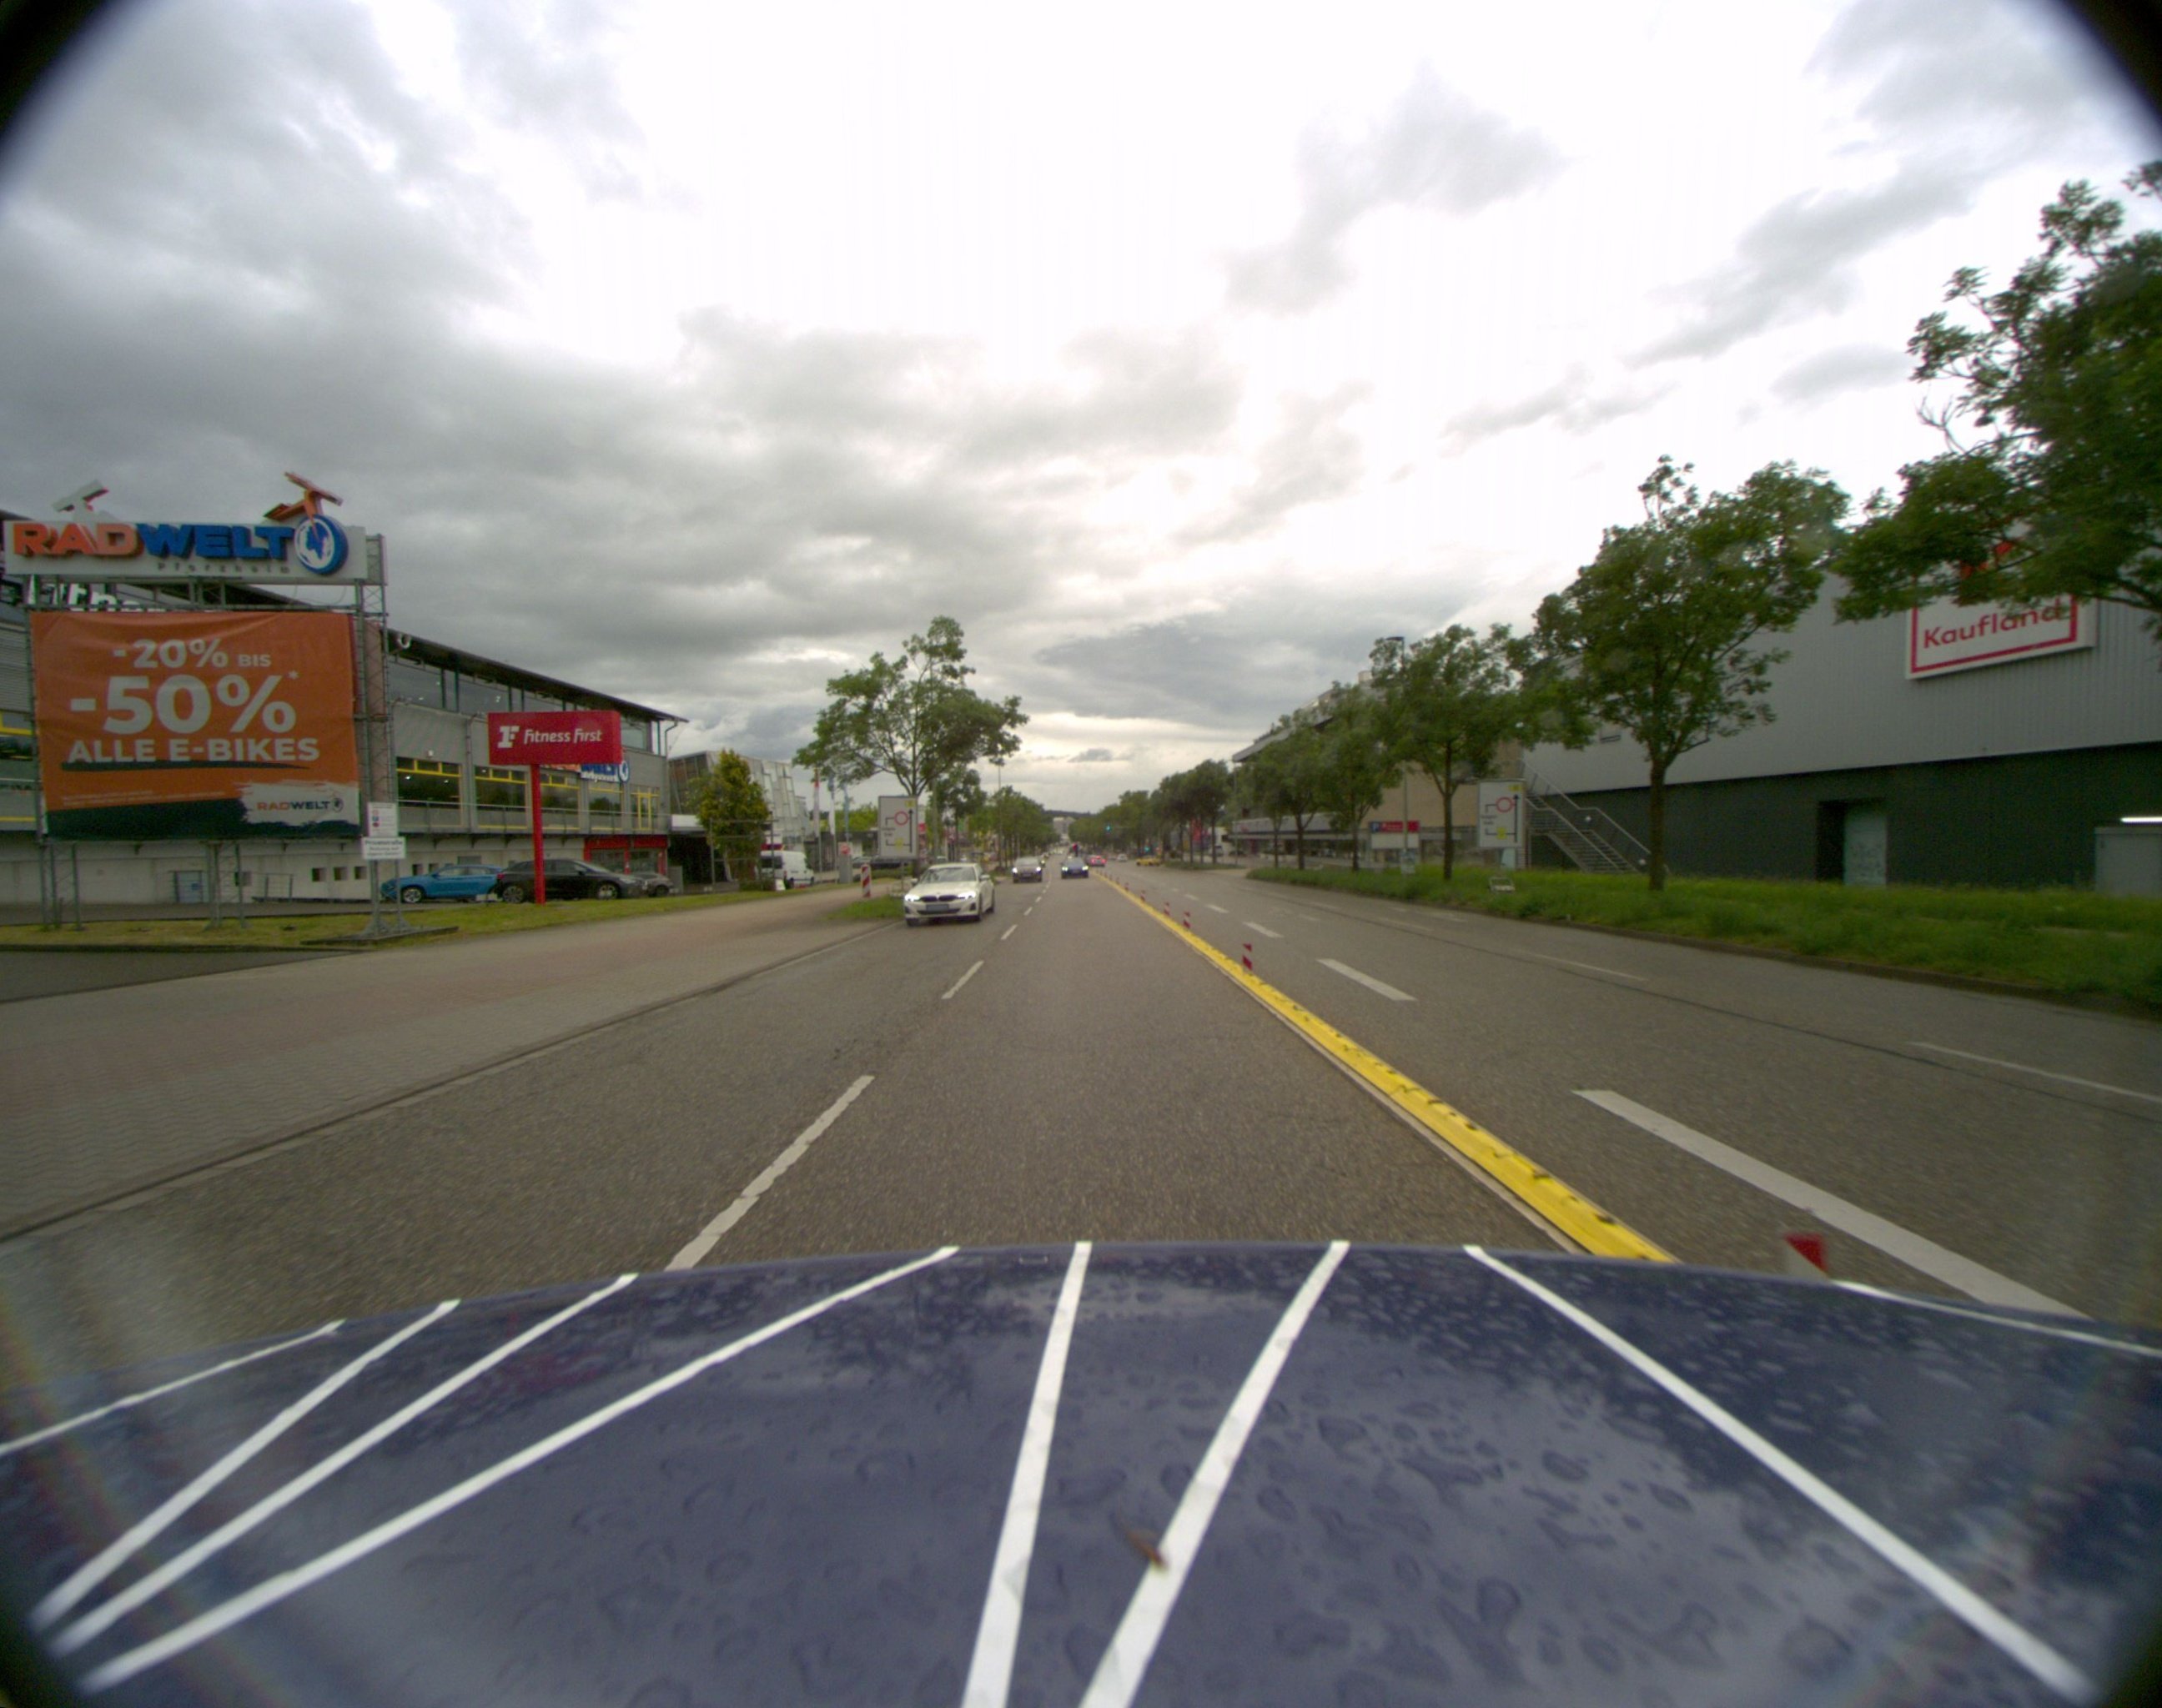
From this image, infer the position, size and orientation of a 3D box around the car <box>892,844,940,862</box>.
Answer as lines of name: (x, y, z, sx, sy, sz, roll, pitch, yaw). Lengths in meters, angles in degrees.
car: (-15.991, -0.140, 73.796, 4.178, 1.591, 1.800, 2, 1, 2)

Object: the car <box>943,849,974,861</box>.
car: (-17.650, 0.184, 109.624, 4.186, 1.570, 1.738, 1, 1, -40)

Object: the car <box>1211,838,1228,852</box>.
car: (22.850, -1.528, 125.361, 1.998, 2.002, 4.886, -5, 1, 3)

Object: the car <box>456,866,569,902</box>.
car: (-25.233, 1.310, 33.780, 3.882, 1.492, 1.735, 0, -2, -41)

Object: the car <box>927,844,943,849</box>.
car: (-38.424, -1.975, 200.126, 3.997, 1.501, 1.800, 0, 0, -2)

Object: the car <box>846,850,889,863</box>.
car: (-25.395, 0.303, 90.437, 4.508, 1.388, 1.794, 1, 2, -43)

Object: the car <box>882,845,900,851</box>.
car: (-50.483, -1.519, 201.919, 4.222, 1.572, 1.823, 0, 0, -2)

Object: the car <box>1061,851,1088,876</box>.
car: (-0.445, 0.653, 53.904, 1.799, 1.572, 4.218, -3, 0, 0)

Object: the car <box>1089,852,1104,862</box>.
car: (2.159, 0.395, 105.839, 1.745, 1.398, 3.999, 0, 0, -3)

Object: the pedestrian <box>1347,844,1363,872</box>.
pedestrian: (16.066, 0.239, 44.607, 0.586, 1.574, 0.767, -3, 1, 1)

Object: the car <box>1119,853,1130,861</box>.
car: (8.106, 0.457, 141.379, 1.745, 1.398, 4.467, 0, 1, -1)

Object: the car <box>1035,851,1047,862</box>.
car: (-5.657, 0.392, 107.765, 1.754, 1.501, 3.999, 0, 0, -2)

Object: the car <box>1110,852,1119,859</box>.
car: (7.258, 0.305, 166.644, 1.745, 1.544, 4.781, 0, 0, -1)

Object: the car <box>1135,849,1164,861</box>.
car: (9.704, 0.170, 107.240, 3.701, 1.500, 1.624, -3, 2, 43)

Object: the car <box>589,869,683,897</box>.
car: (-25.225, 1.629, 43.140, 1.779, 1.461, 4.269, -3, -2, 43)

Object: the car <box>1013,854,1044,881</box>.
car: (-3.295, 0.816, 48.348, 1.799, 1.572, 4.217, -3, 0, -2)

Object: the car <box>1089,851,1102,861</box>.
car: (2.127, 0.266, 114.000, 1.754, 1.516, 3.999, 0, 0, -2)

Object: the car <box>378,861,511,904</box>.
car: (-25.063, 1.092, 29.997, 3.919, 1.549, 1.735, 0, -2, -43)

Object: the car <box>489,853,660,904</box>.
car: (-15.793, 0.768, 23.914, 4.106, 1.430, 1.795, -1, -2, -14)

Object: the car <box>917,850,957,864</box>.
car: (-16.112, 0.292, 85.303, 4.180, 1.464, 1.862, 2, 1, -2)

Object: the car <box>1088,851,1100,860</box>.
car: (2.069, 0.230, 122.129, 1.754, 1.501, 3.999, 0, 0, -2)

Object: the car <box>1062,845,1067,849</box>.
car: (-5.562, -2.351, 258.153, 1.754, 1.501, 3.999, 0, 0, -1)

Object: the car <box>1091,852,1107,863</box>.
car: (2.405, 0.396, 99.862, 1.789, 1.398, 4.615, 0, 0, -3)

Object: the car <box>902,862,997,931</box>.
car: (-3.302, 1.007, 19.929, 1.808, 1.432, 4.540, -3, 0, -2)

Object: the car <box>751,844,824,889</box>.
car: (-18.415, 0.834, 47.963, 2.232, 2.521, 5.682, -3, -2, 1)

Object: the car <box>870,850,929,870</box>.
car: (-15.997, 0.477, 66.966, 4.664, 1.591, 1.928, 2, 1, 9)

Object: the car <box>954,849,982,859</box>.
car: (-18.094, 0.025, 121.665, 1.738, 1.570, 4.324, 2, 1, 42)

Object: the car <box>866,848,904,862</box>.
car: (-25.916, 0.164, 100.700, 4.508, 1.672, 1.794, 1, 2, -40)
